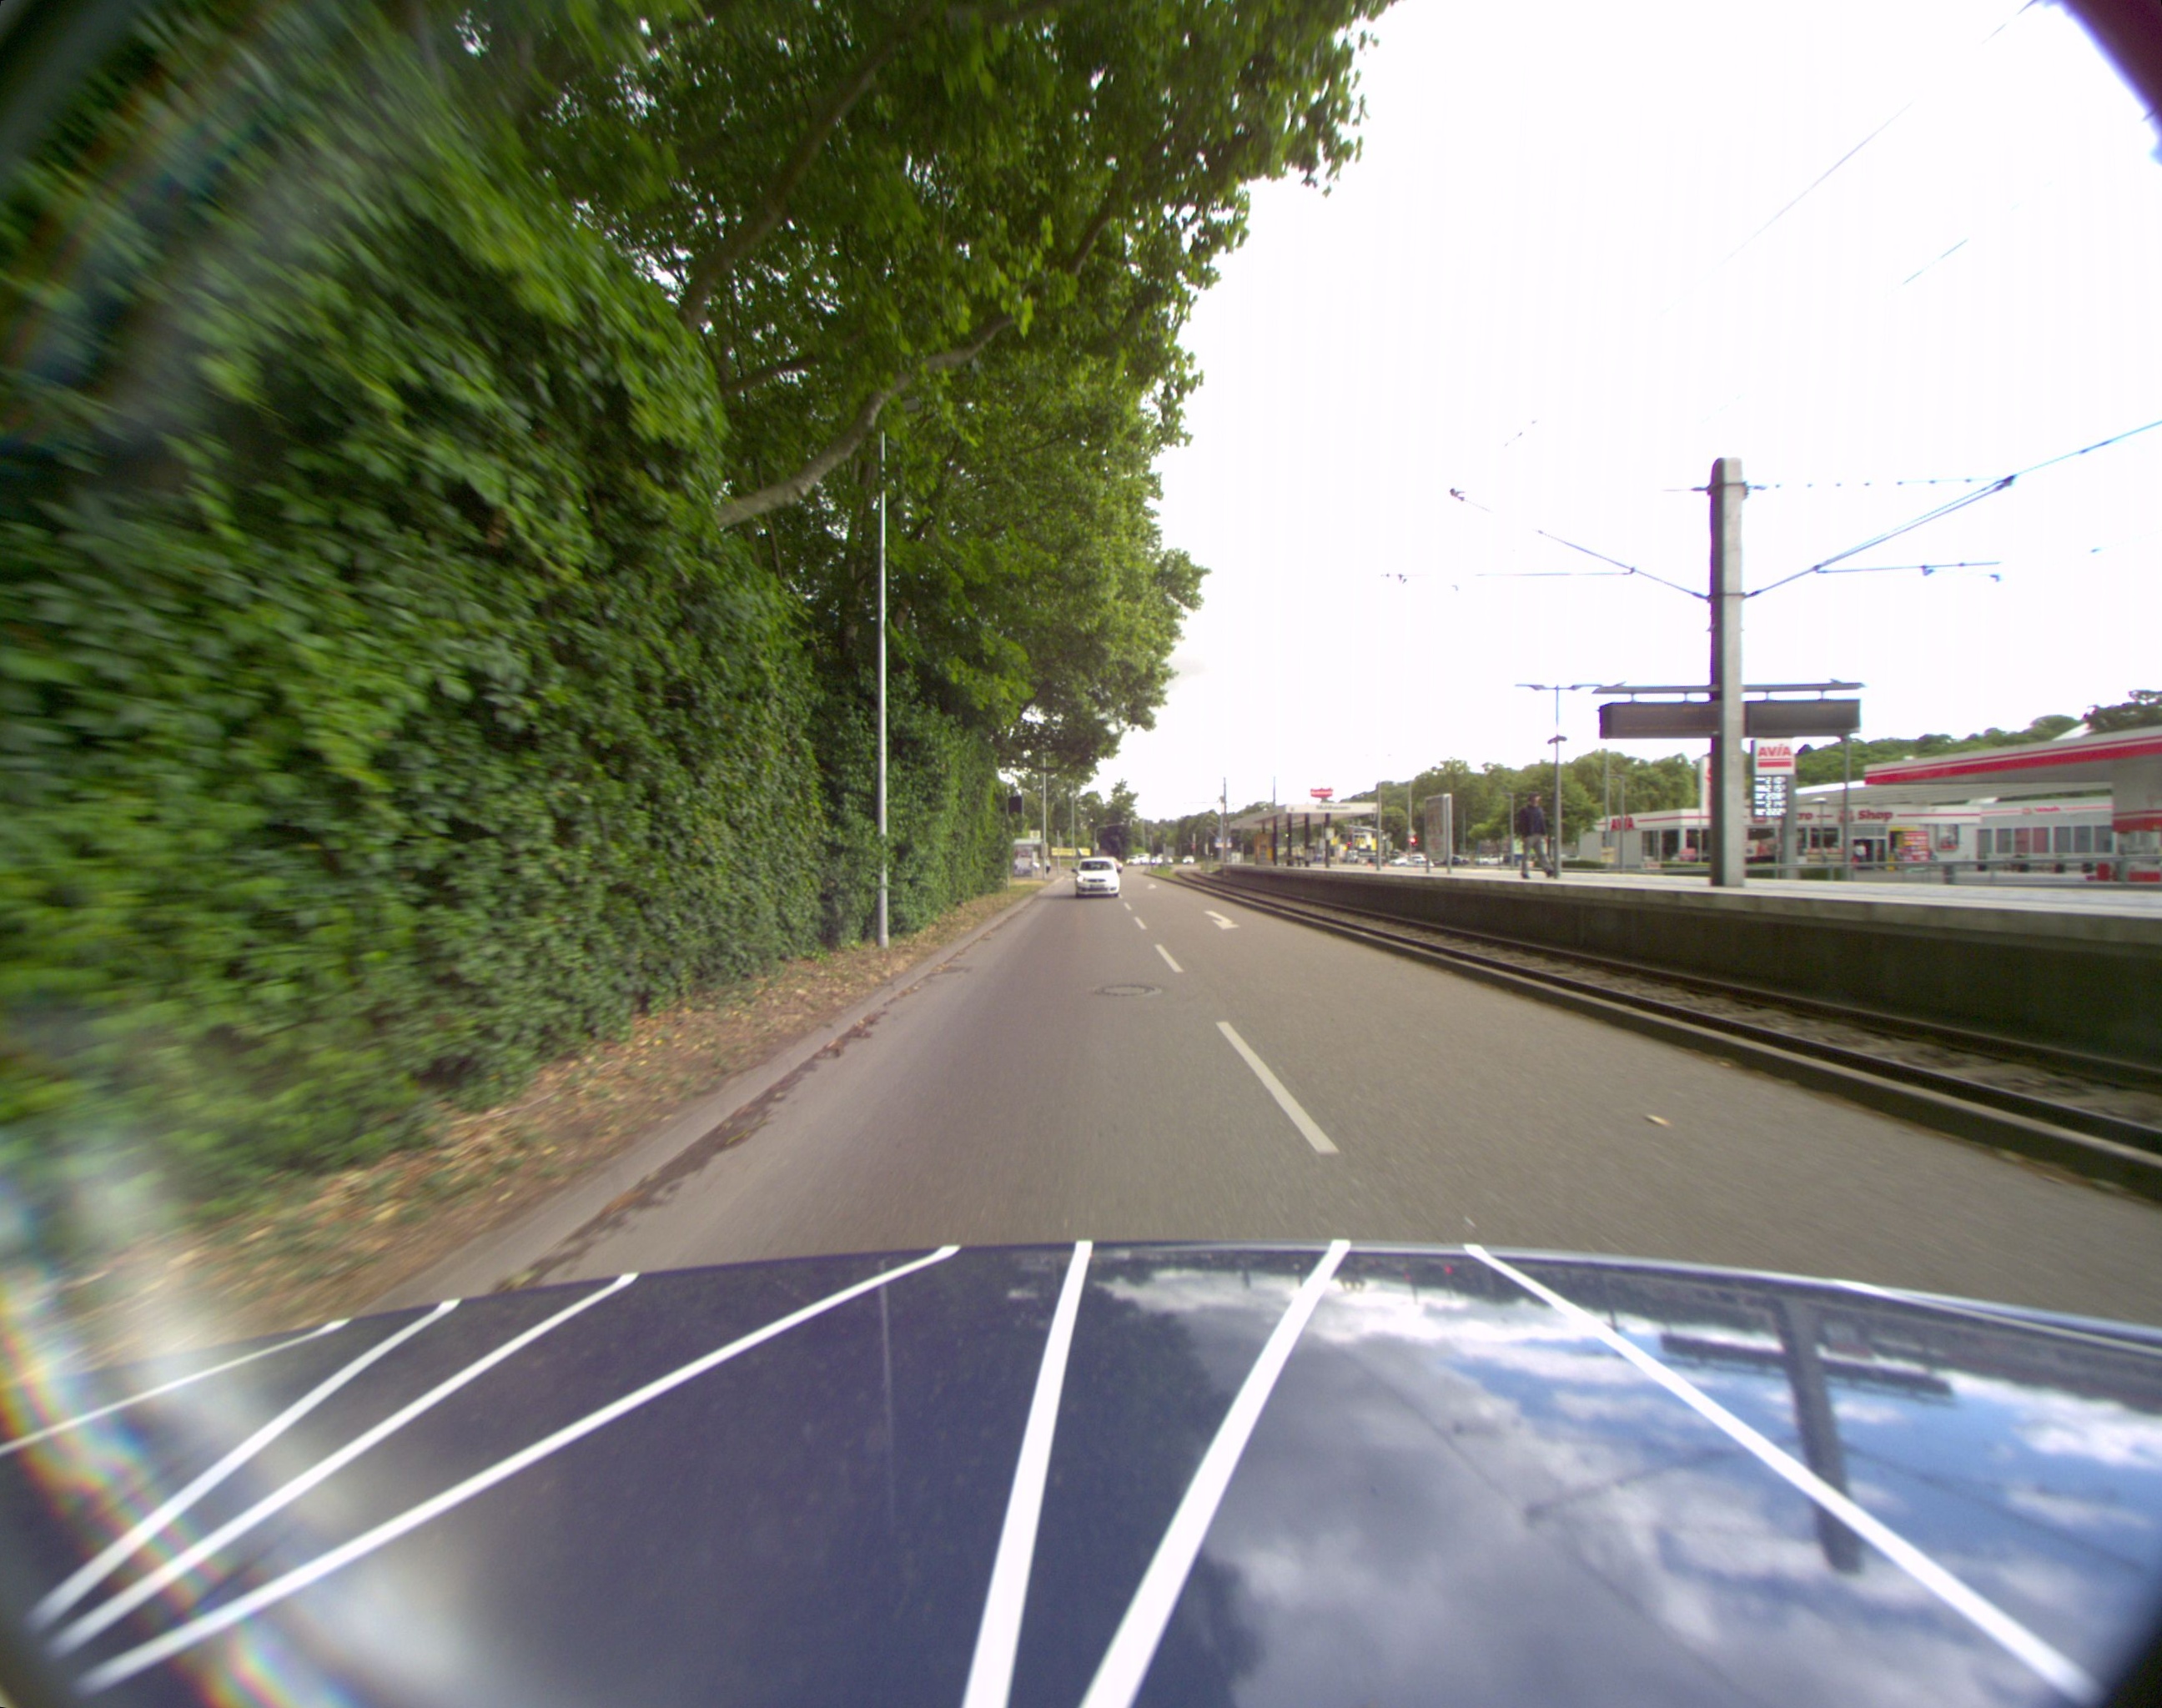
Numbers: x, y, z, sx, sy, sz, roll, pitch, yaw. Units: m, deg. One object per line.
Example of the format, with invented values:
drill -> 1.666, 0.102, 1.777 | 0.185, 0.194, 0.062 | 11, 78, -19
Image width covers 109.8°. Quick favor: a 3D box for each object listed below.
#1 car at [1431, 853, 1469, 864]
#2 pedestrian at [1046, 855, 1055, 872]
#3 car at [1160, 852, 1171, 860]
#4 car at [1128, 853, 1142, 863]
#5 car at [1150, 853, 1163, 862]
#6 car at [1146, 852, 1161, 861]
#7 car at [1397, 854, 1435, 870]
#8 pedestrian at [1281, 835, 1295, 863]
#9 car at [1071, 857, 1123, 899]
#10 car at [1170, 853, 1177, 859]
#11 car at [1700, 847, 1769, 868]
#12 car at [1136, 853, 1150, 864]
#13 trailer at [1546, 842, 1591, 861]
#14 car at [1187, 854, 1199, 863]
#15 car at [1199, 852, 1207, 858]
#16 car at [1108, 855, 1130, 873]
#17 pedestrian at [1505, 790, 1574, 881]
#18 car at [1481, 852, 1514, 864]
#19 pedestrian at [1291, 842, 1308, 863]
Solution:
car -> 49.749, 0.662, 102.517 | 4.419, 1.423, 1.794 | -1, 0, -11
pedestrian -> -2.721, 0.833, 68.539 | 0.755, 1.505, 0.671 | 1, 1, 1
car -> 16.795, 0.452, 150.278 | 1.829, 1.543, 4.003 | 1, 0, 10
car -> 8.513, 0.610, 119.612 | 1.718, 1.410, 4.004 | 0, 0, 12
car -> 13.873, 0.578, 139.366 | 1.829, 1.543, 4.004 | 1, 0, 12
car -> 12.845, 0.355, 134.173 | 1.996, 1.527, 4.004 | 1, 0, 14
car -> 29.184, 0.668, 66.290 | 1.617, 1.342, 4.031 | 0, 0, 2
pedestrian -> 11.876, -0.280, 43.594 | 0.585, 1.611, 0.572 | 1, 1, 3
car -> 0.574, 0.881, 29.629 | 1.674, 1.439, 3.603 | -3, 0, -3
car -> 29.254, 0.586, 240.612 | 1.951, 2.002, 4.000 | 0, 0, 1
car -> 43.227, 0.247, 50.344 | 1.616, 1.342, 3.636 | 0, 0, 3
car -> 10.240, 0.758, 125.332 | 1.807, 1.814, 4.004 | 0, 0, 13
trailer -> 58.665, -0.322, 91.422 | 4.388, 2.245, 1.560 | 1, 1, 1
car -> 20.095, 0.746, 136.595 | 1.965, 1.543, 4.003 | 1, 0, 10
car -> 37.554, 0.275, 234.415 | 1.998, 2.002, 4.000 | 1, 0, 1
car -> 3.538, 0.897, 70.207 | 1.895, 1.607, 4.509 | 0, 0, 4
pedestrian -> 9.039, -0.354, 15.012 | 0.750, 1.734, 0.937 | 1, 1, 1
car -> 57.638, 0.517, 105.199 | 3.642, 1.545, 1.726 | 1, 1, -9
pedestrian -> 11.949, -0.081, 41.633 | 0.771, 1.182, 0.728 | 0, 1, 5
